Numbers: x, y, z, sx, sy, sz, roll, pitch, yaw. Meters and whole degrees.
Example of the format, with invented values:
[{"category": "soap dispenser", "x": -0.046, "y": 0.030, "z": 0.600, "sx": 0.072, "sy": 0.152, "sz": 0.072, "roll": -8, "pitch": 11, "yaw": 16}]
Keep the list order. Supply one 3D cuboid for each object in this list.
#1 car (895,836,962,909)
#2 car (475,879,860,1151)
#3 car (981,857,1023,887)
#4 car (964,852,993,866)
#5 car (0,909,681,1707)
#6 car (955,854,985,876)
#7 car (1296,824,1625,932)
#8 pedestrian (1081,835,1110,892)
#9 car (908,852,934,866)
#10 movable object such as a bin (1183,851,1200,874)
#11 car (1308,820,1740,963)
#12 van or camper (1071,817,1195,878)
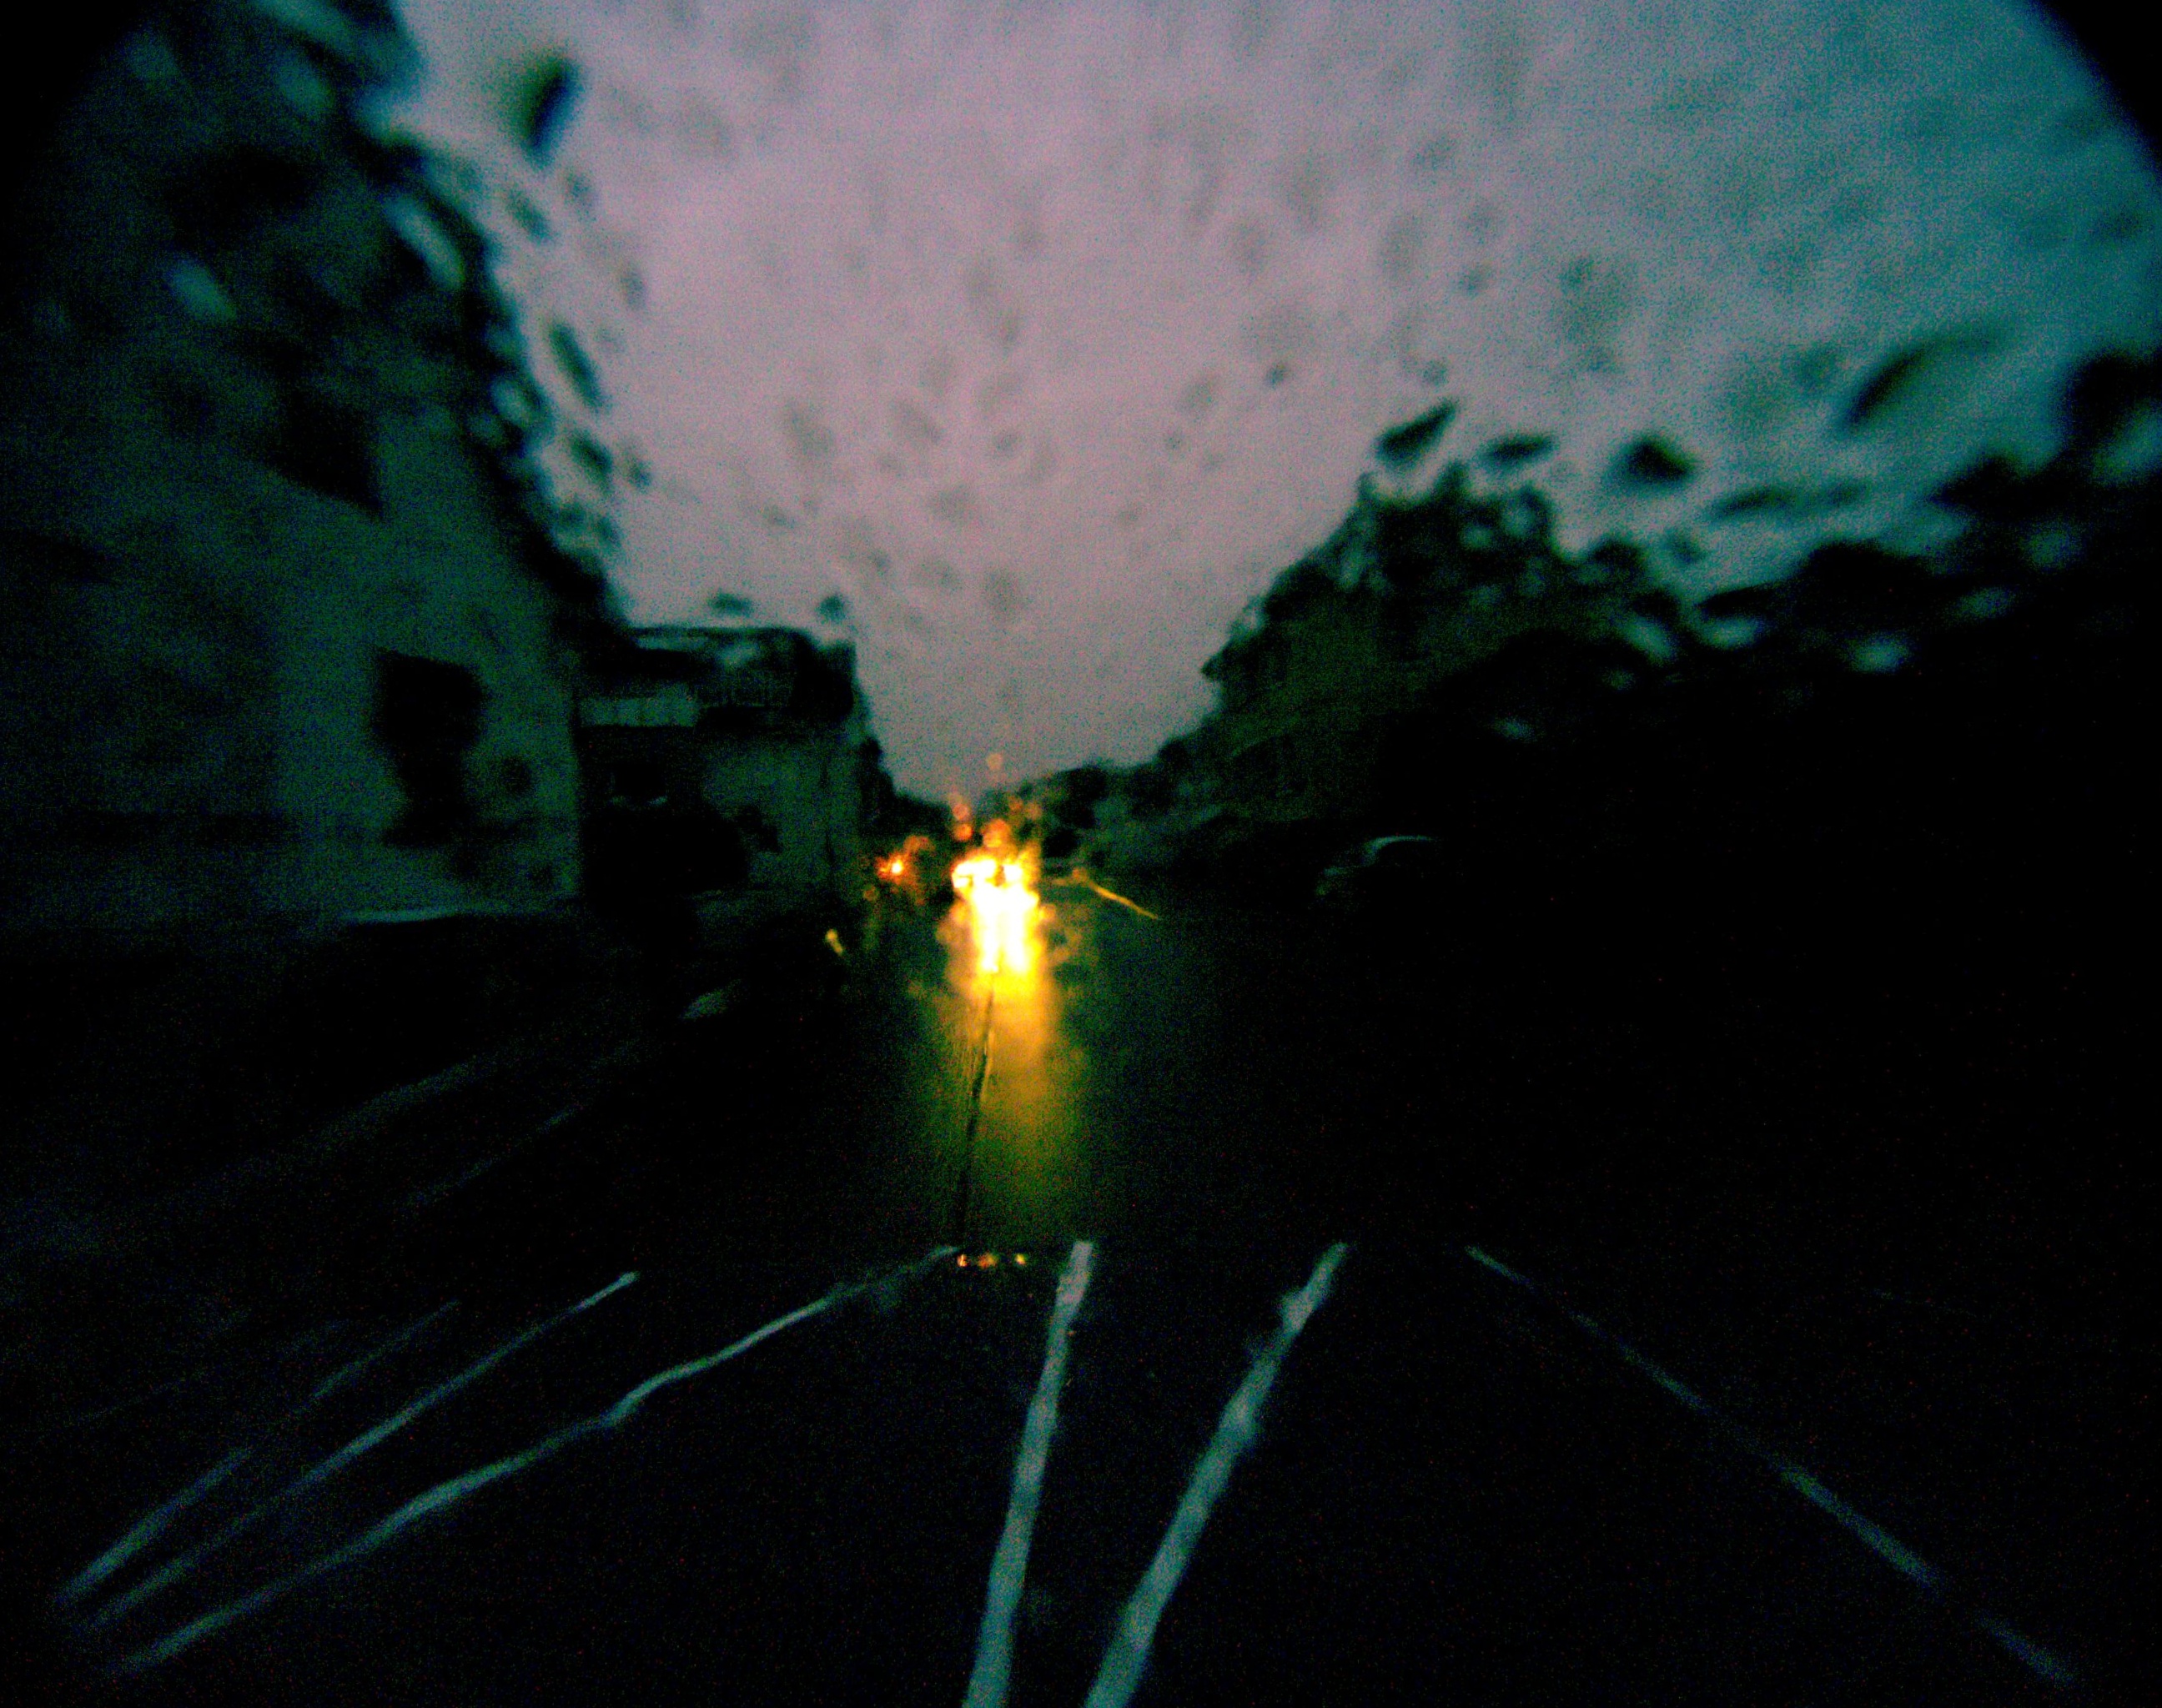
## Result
[{"category": "car", "x": -5.886, "y": 0.652, "z": 29.968, "sx": 2.015, "sy": 2.440, "sz": 5.611, "roll": -5, "pitch": 1, "yaw": -8}, {"category": "car", "x": -3.237, "y": 1.100, "z": 6.931, "sx": 1.643, "sy": 1.463, "sz": 3.997, "roll": -5, "pitch": 1, "yaw": -8}, {"category": "car", "x": -4.733, "y": 1.005, "z": 44.797, "sx": 1.992, "sy": 1.549, "sz": 4.231, "roll": -4, "pitch": 1, "yaw": -11}, {"category": "car", "x": -15.202, "y": 0.733, "z": 113.038, "sx": 3.997, "sy": 1.652, "sz": 1.755, "roll": -4, "pitch": 1, "yaw": 0}, {"category": "car", "x": -2.771, "y": 1.105, "z": 1.993, "sx": 1.643, "sy": 1.485, "sz": 3.997, "roll": -5, "pitch": 1, "yaw": -8}, {"category": "car", "x": -8.947, "y": 0.837, "z": 60.950, "sx": 1.993, "sy": 1.549, "sz": 4.231, "roll": -4, "pitch": 1, "yaw": -13}, {"category": "car", "x": 6.273, "y": 0.375, "z": 12.945, "sx": 4.615, "sy": 1.462, "sz": 1.891, "roll": -3, "pitch": 1, "yaw": -1}, {"category": "pedestrian", "x": 0.526, "y": 0.351, "z": 28.160, "sx": 0.786, "sy": 2.002, "sz": 0.869, "roll": -5, "pitch": 2, "yaw": -6}, {"category": "car", "x": -24.062, "y": 0.798, "z": 114.145, "sx": 1.855, "sy": 1.873, "sz": 4.874, "roll": -5, "pitch": 1, "yaw": -37}, {"category": "movable object such as a bin", "x": 4.996, "y": 0.383, "z": 34.463, "sx": 0.618, "sy": 1.015, "sz": 0.580, "roll": -4, "pitch": 1, "yaw": -1}, {"category": "car", "x": 5.664, "y": 0.426, "z": 10.097, "sx": 4.606, "sy": 1.462, "sz": 1.999, "roll": -3, "pitch": 1, "yaw": -4}, {"category": "van or camper", "x": 2.637, "y": -0.328, "z": 39.670, "sx": 6.077, "sy": 2.925, "sz": 2.322, "roll": -2, "pitch": 1, "yaw": -7}]
